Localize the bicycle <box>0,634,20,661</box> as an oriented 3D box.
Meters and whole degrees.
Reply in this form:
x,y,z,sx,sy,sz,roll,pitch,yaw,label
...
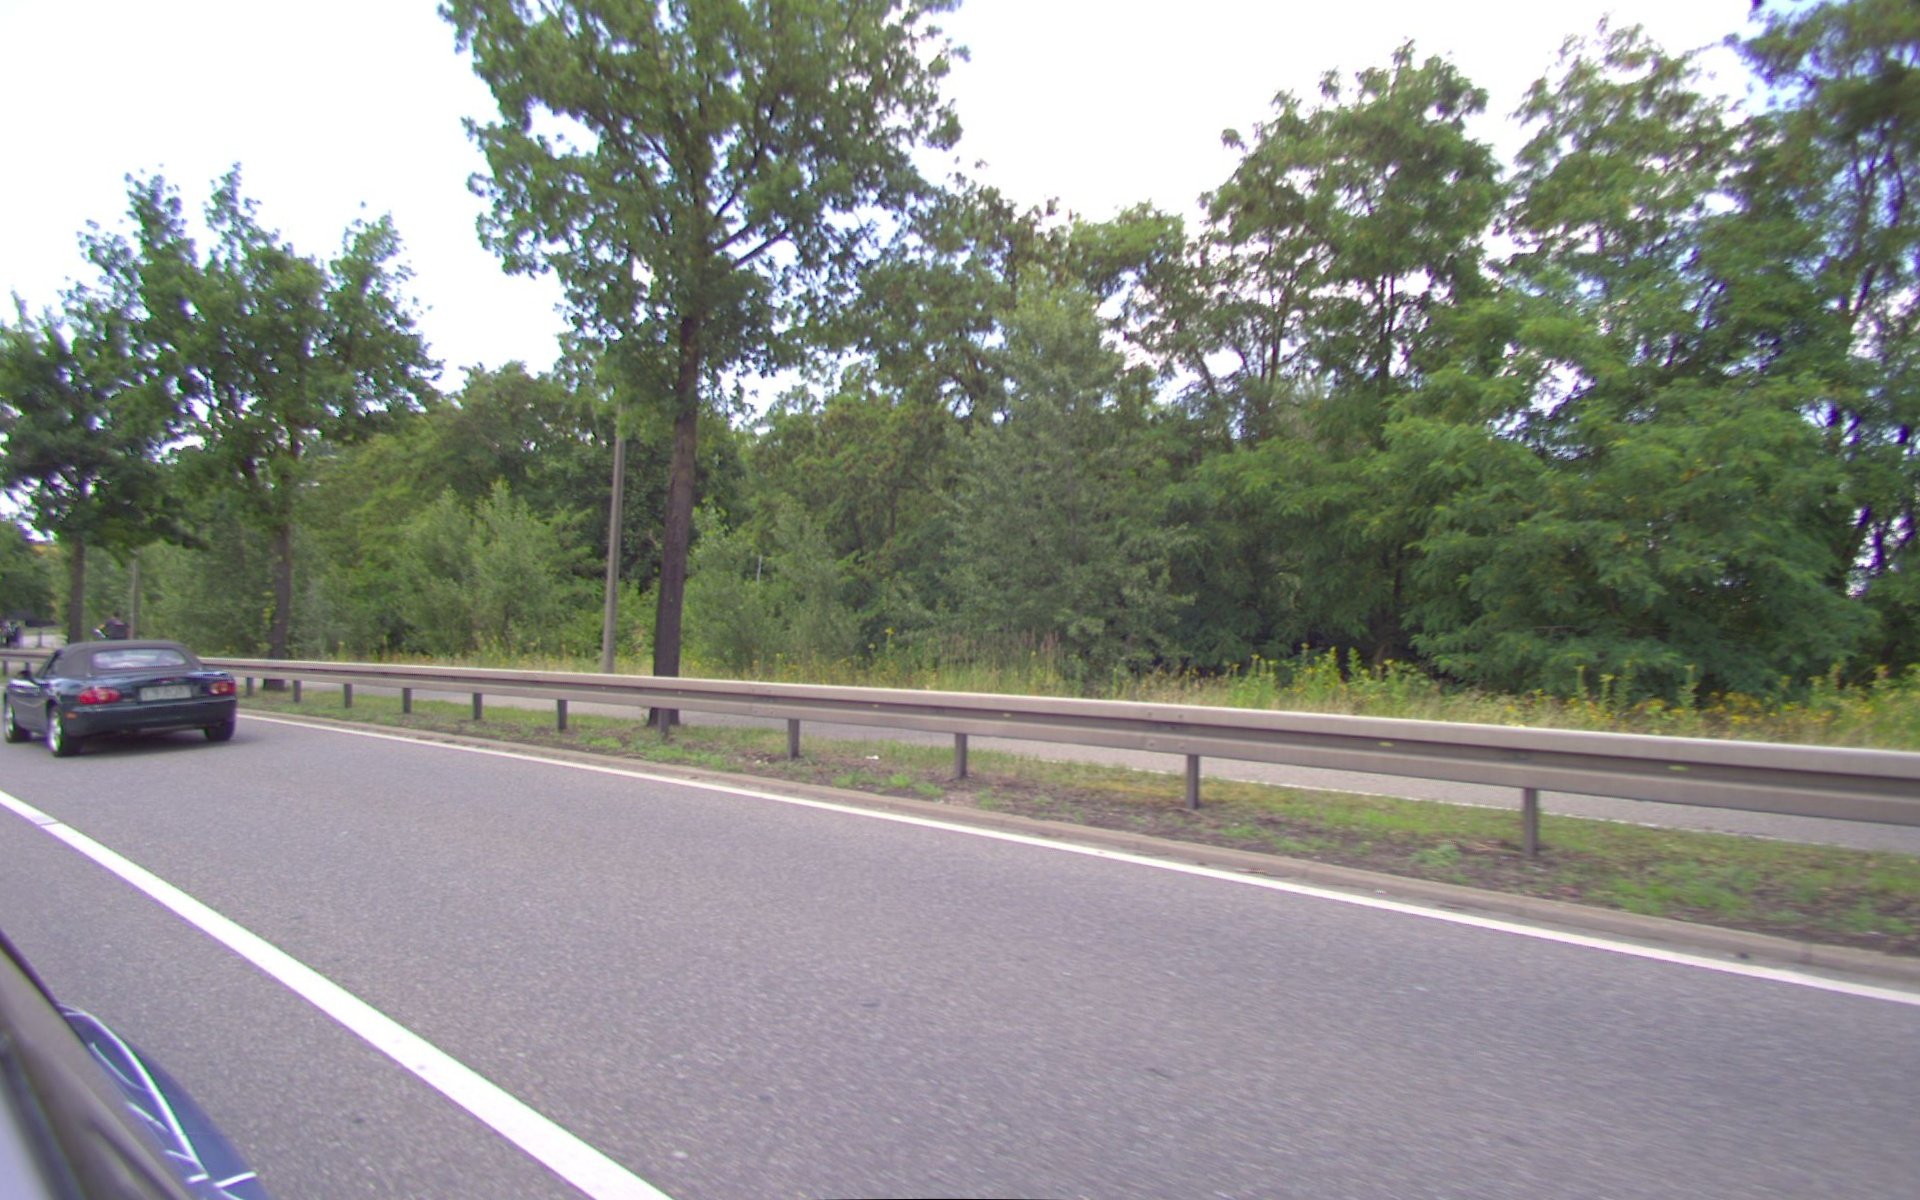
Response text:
x,y,z,sx,sy,sz,roll,pitch,yaw,label
-38.540,1.904,40.838,1.750,1.071,0.551,-1,-3,36,bicycle

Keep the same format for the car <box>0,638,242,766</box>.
x,y,z,sx,sy,sz,roll,pitch,yaw,label
-10.076,1.093,11.957,3.785,1.227,1.577,-1,-1,38,car

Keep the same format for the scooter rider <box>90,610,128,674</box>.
x,y,z,sx,sy,sz,roll,pitch,yaw,label
-25.152,1.240,29.907,0.618,1.870,0.656,-1,-3,35,scooter rider

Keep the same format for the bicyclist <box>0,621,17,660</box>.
x,y,z,sx,sy,sz,roll,pitch,yaw,label
-38.519,1.643,40.837,0.878,1.565,0.480,-1,-3,36,bicyclist

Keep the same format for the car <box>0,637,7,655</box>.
x,y,z,sx,sy,sz,roll,pitch,yaw,label
-99.347,4.723,104.092,1.753,1.877,4.129,4,-5,-43,car
